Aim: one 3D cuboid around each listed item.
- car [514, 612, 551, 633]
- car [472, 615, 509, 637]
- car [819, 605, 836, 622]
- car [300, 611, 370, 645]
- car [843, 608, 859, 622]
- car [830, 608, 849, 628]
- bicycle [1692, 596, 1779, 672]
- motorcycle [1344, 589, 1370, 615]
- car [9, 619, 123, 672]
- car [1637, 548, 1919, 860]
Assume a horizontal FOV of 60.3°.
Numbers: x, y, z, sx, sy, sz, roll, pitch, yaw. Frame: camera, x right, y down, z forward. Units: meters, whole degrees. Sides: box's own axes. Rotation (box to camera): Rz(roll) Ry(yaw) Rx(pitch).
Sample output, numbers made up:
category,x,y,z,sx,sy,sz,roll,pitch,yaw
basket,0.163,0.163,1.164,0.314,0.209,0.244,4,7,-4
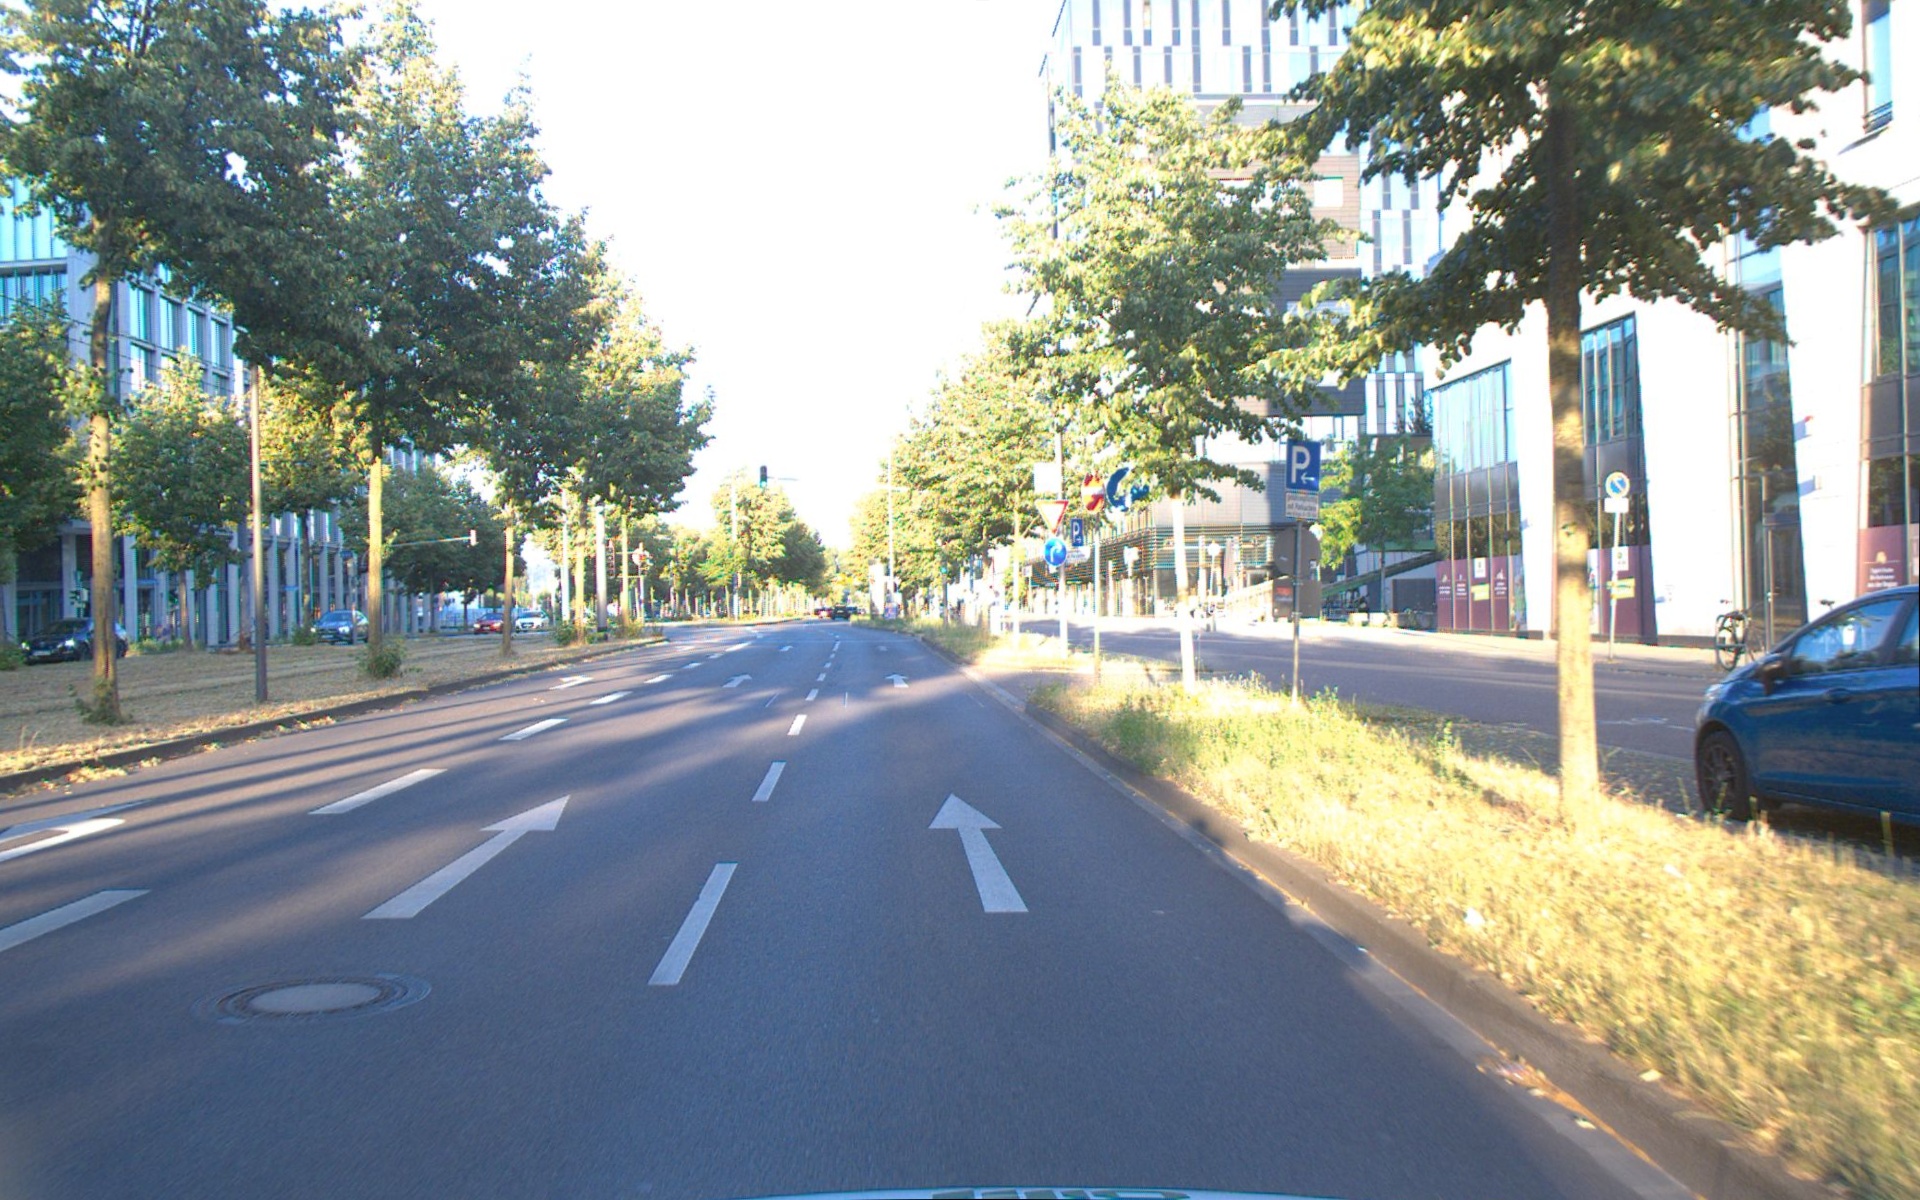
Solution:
category,x,y,z,sx,sy,sz,roll,pitch,yaw
car,-28.223,1.474,109.215,1.752,1.355,3.667,-2,0,-5
car,-31.771,1.733,112.028,1.625,1.355,4.522,-1,0,-5
car,-16.344,1.686,204.806,2.046,2.049,3.996,-1,0,-4
car,-26.750,1.181,70.919,1.625,1.355,4.579,-1,0,-5
car,-13.405,1.863,202.912,1.835,1.601,3.675,-1,0,-2
car,-13.170,1.948,180.645,1.954,2.049,3.996,-1,0,-4
bicycle,11.693,0.494,24.988,0.437,1.091,1.773,-3,0,0
motorcycle,17.875,0.095,74.495,0.636,1.113,2.333,-1,0,2
car,-28.195,1.416,52.322,1.625,1.528,4.185,-1,0,-5
car,5.584,0.522,9.176,1.690,1.556,4.265,0,0,-4
